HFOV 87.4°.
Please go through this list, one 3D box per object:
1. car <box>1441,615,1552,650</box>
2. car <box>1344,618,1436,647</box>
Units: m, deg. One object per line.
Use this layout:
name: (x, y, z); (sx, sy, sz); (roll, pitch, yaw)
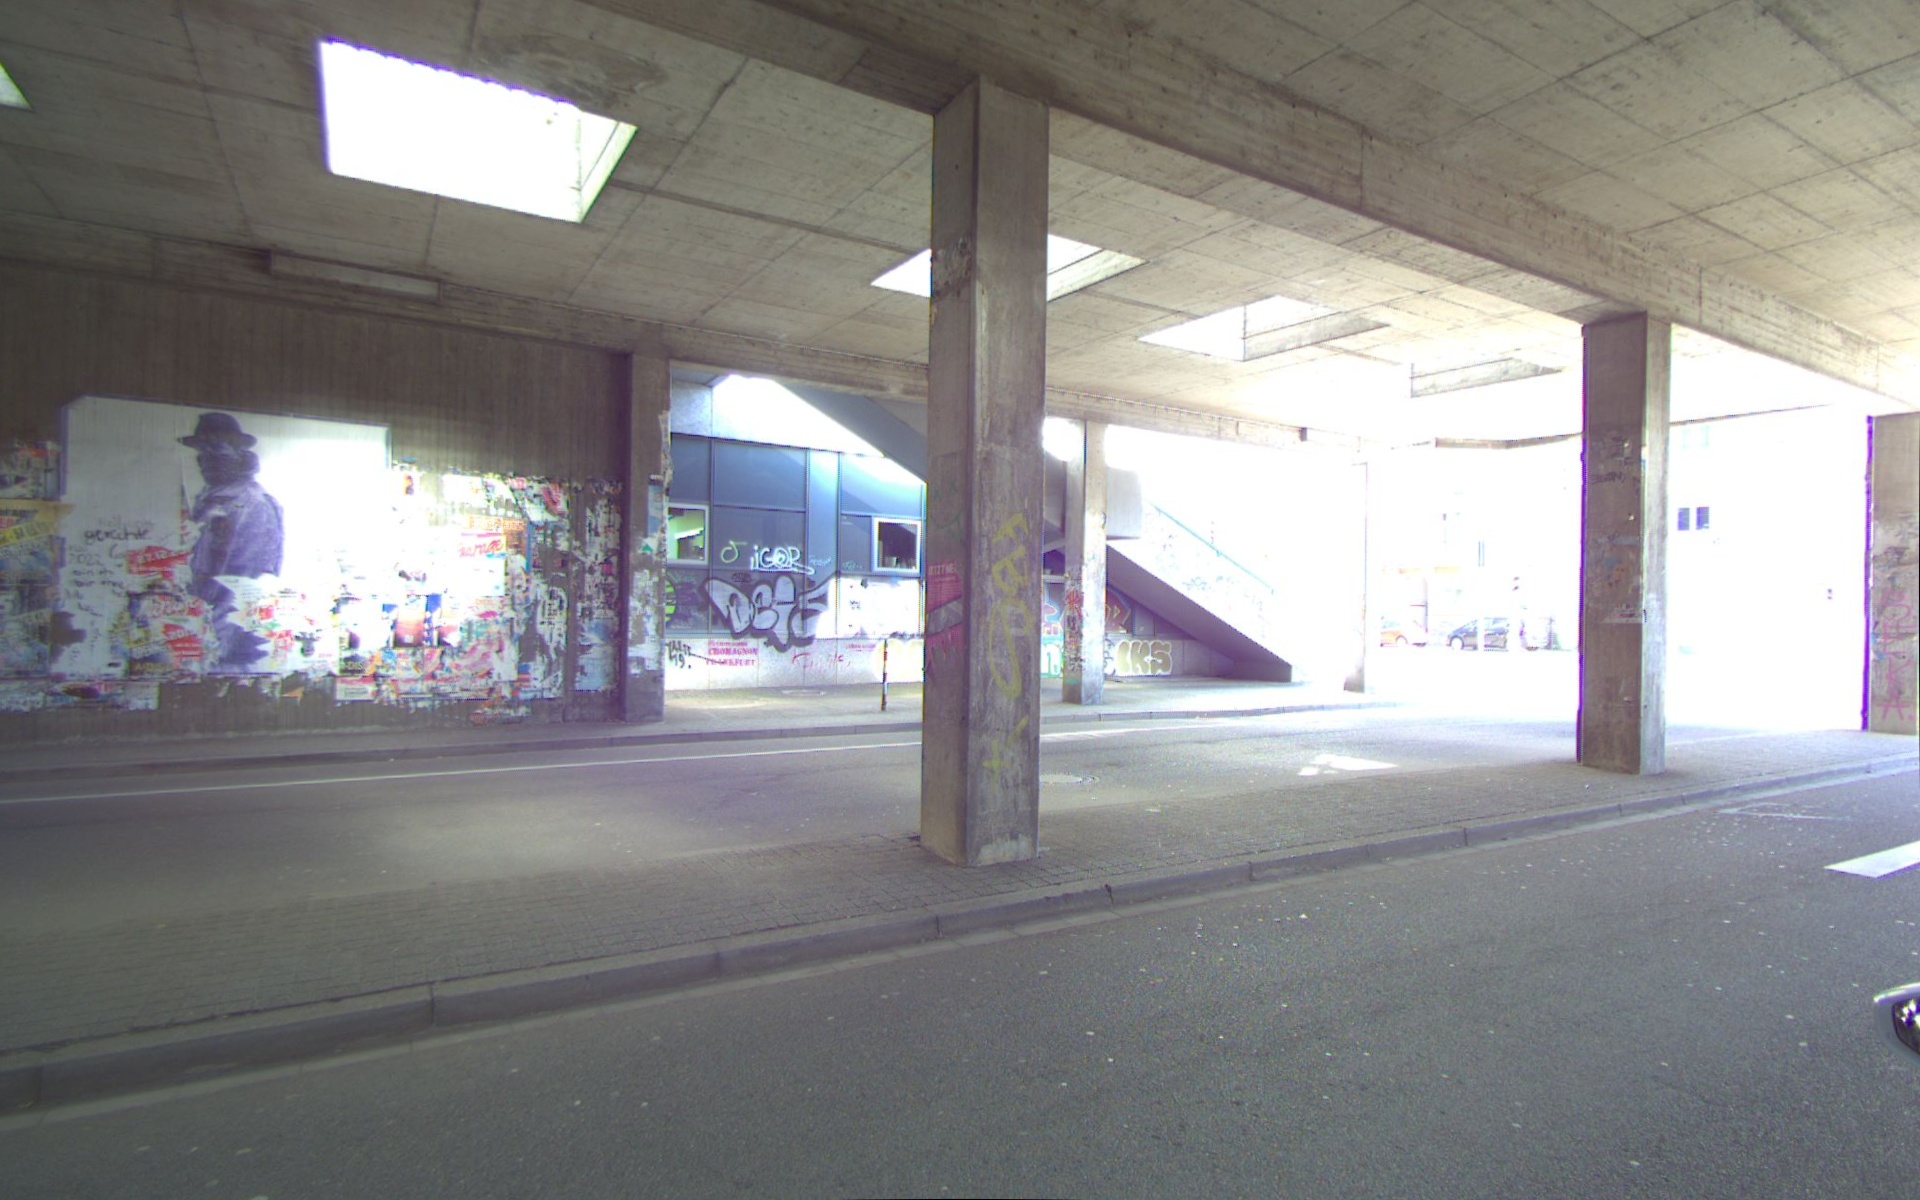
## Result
car: (25.412, 1.513, 47.665); (2.240, 1.571, 4.111); (1, -1, -29)
car: (22.490, 1.687, 52.676); (2.163, 1.392, 3.971); (1, -1, -28)
